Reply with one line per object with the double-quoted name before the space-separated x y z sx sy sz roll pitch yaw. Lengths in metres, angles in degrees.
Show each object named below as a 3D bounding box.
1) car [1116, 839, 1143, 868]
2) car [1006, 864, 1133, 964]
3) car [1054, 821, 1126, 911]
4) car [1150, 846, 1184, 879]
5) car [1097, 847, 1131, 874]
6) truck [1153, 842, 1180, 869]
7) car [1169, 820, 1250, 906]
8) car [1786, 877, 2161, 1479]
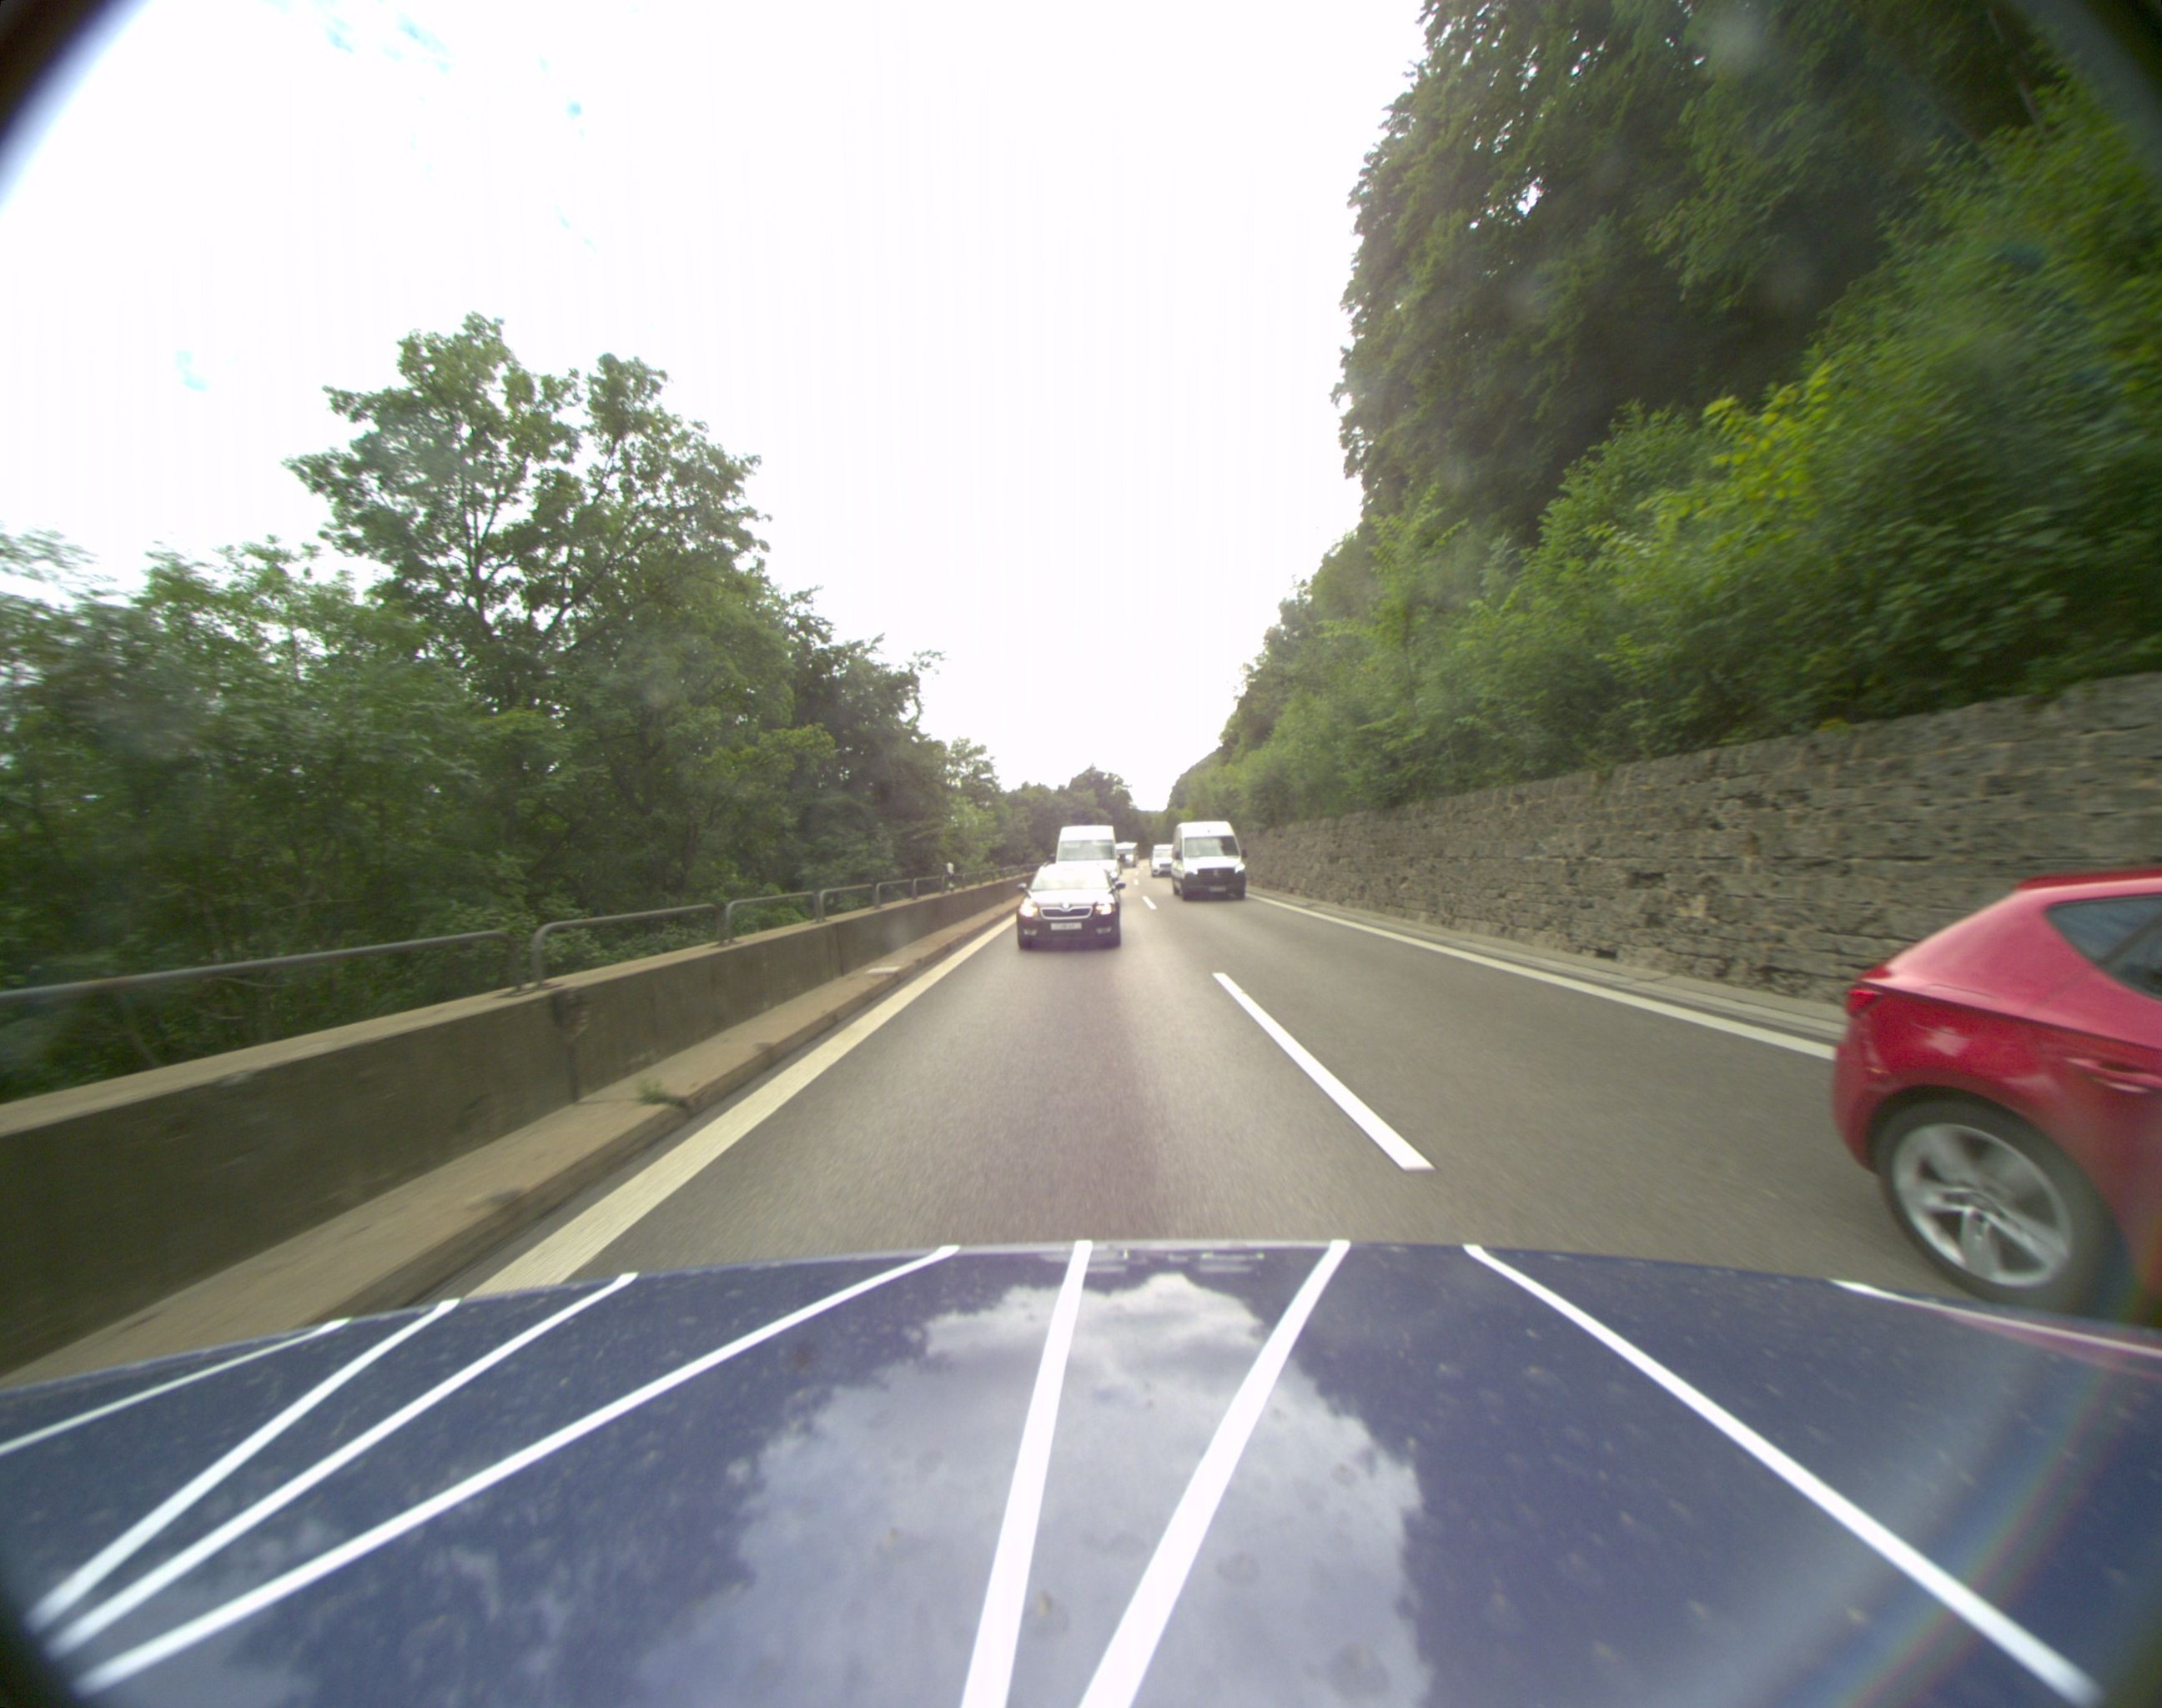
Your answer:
"car" 5.388 -0.109 83.476 2.275 2.941 7.189 -2 1 8
"car" -0.348 0.985 14.883 1.914 1.391 5.695 -4 0 -3
"car" 0.321 0.326 25.242 1.998 2.550 5.918 -2 1 1
"car" 5.737 0.517 50.689 1.997 1.941 6.150 -4 0 7
"car" 2.573 0.449 58.536 1.997 1.871 4.002 -3 1 10
"truck" 8.151 0.117 71.931 1.997 2.266 6.590 -4 0 10
"car" 4.285 0.245 26.313 2.030 2.570 6.275 -2 1 4
"car" 3.601 0.857 0.749 1.770 1.451 4.411 -2 1 1
